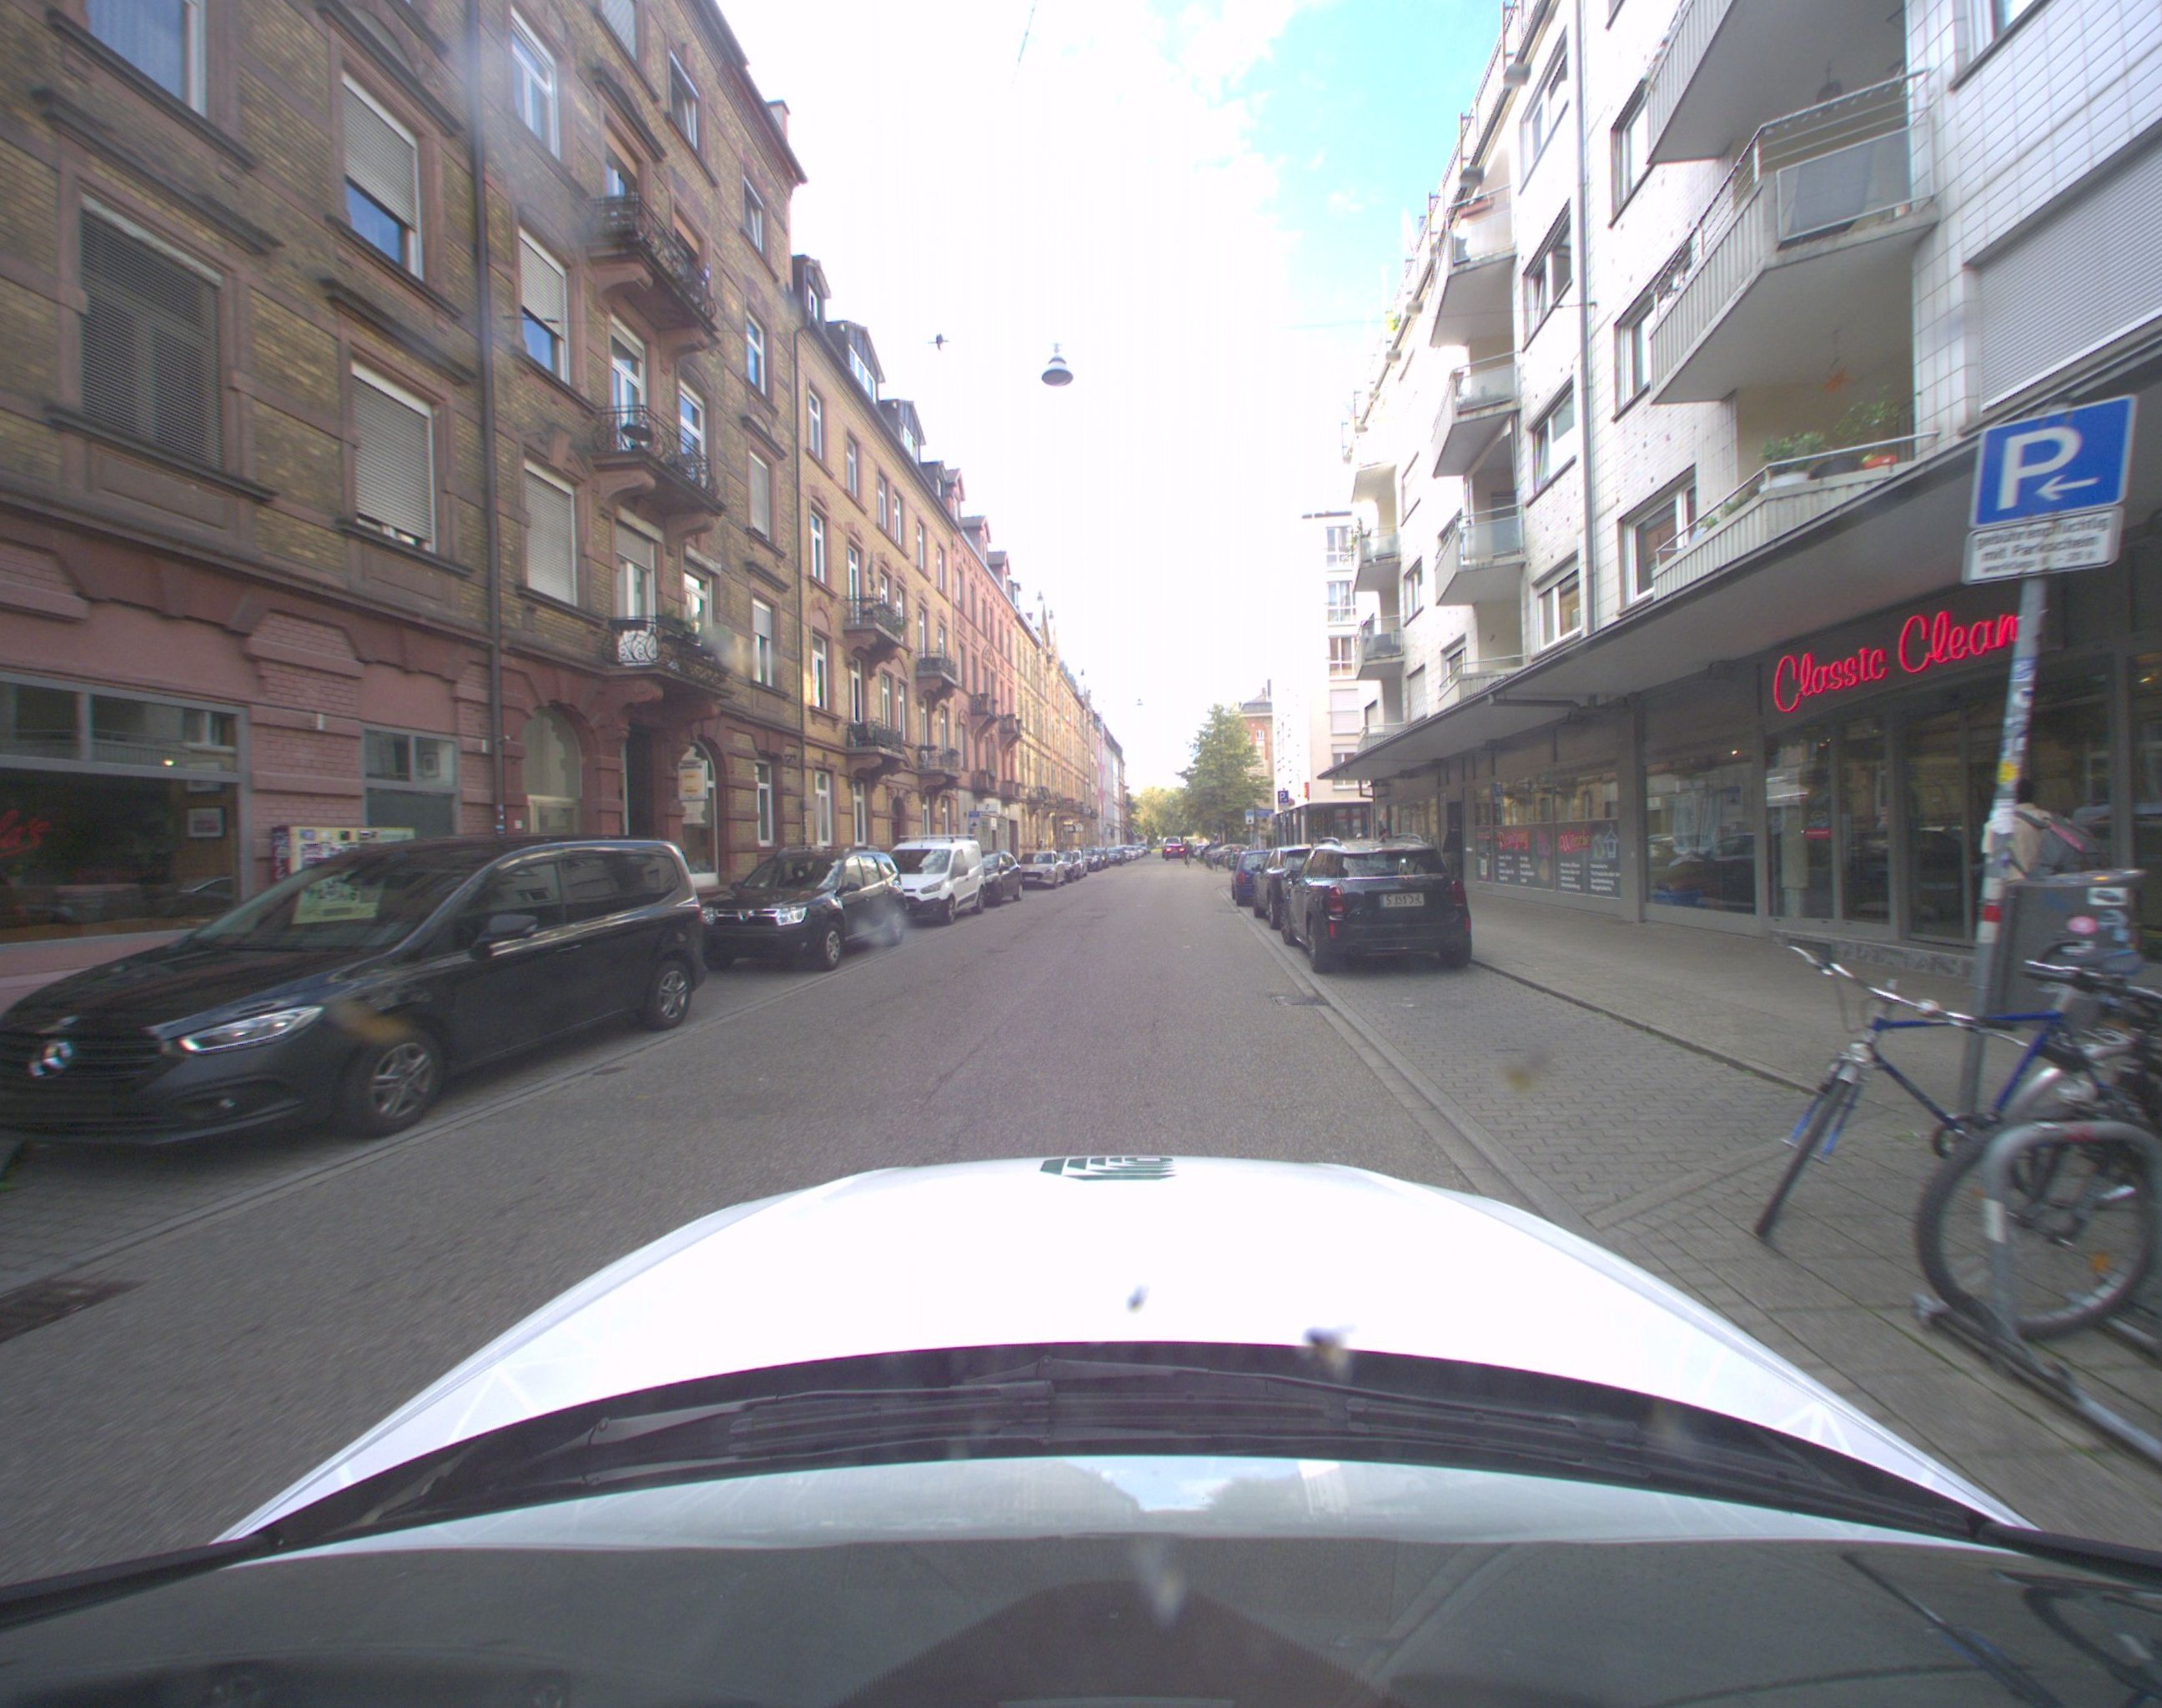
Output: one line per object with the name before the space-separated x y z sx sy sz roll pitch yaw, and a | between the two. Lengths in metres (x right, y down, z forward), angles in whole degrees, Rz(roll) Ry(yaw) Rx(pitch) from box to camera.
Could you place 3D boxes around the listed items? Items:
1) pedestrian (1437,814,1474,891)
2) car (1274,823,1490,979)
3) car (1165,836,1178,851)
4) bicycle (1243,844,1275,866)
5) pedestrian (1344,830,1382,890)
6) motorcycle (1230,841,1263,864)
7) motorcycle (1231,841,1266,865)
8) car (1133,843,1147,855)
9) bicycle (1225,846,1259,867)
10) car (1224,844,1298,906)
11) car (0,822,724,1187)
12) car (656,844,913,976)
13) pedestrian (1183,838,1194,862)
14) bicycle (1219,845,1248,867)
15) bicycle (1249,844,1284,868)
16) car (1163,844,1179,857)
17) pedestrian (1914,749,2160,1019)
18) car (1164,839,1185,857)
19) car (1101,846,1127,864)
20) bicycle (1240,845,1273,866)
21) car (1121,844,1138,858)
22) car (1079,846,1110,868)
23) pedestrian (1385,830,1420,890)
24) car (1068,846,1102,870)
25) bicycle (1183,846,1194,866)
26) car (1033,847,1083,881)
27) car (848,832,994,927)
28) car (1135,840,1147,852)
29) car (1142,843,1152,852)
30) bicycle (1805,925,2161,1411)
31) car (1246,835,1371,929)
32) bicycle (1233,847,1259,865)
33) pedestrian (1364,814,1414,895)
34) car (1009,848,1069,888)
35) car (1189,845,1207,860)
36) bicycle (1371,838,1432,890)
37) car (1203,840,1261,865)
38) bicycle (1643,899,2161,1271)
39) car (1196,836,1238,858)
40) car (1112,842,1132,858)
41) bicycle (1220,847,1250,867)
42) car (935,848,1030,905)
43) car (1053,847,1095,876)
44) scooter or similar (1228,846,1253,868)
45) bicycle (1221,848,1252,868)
pedestrian | 9.312 -0.039 20.238 0.700 1.860 0.649 -1 0 36
car | 3.744 0.491 10.854 1.783 1.605 3.933 -4 0 7
car | 12.294 -1.382 110.982 1.773 2.019 3.895 0 1 6
bicycle | 10.324 0.041 47.267 1.759 1.146 0.411 -4 1 1
pedestrian | 7.757 0.153 22.407 0.819 1.588 0.782 -2 0 8
motorcycle | 11.593 -0.105 57.145 2.136 1.530 0.688 -4 1 11
motorcycle | 11.135 -0.059 54.139 2.136 1.434 0.768 -4 1 11
car | 7.710 -0.611 106.326 1.681 1.550 3.874 0 0 6
bicycle | 8.995 0.159 45.435 1.759 1.056 0.411 -4 1 1
car | 4.793 0.500 22.114 1.586 1.439 4.040 -2 1 8
car | -4.755 0.703 6.222 1.751 1.773 4.413 0 1 6
car | -4.149 0.681 12.262 1.984 1.638 4.152 -1 1 6
pedestrian | 7.217 -0.276 54.706 0.714 1.650 0.932 0 1 8
bicycle | 8.763 0.102 46.838 1.489 1.146 0.411 -4 1 1
bicycle | 10.212 0.102 44.891 1.755 1.162 0.652 -4 1 9
car | 10.757 -0.464 97.505 1.788 1.472 3.895 0 1 6
pedestrian | 6.763 0.198 5.817 0.710 1.746 0.818 -4 0 5
car | 9.260 -0.582 80.534 1.954 1.740 4.049 -1 0 7
car | 2.735 0.034 66.907 1.681 1.369 3.875 3 1 7
bicycle | 9.907 0.092 45.980 1.755 1.087 0.652 -4 1 9
car | 5.448 -0.358 91.240 1.681 1.550 3.874 0 0 6
car | 0.978 0.172 56.761 1.681 1.437 3.875 0 1 7
pedestrian | 8.775 0.162 22.247 0.640 1.588 0.782 -3 0 8
car | 0.290 0.239 50.627 1.681 1.386 3.875 0 1 7
bicycle | 7.221 0.118 54.706 0.714 1.274 1.888 0 1 8
car | -1.007 0.424 37.586 1.732 1.483 3.992 0 1 7
car | -3.439 0.473 18.467 1.909 1.871 4.446 -1 1 7
car | 9.056 -1.181 122.539 1.681 1.821 3.874 0 0 6
car | 11.172 -1.130 137.795 1.681 1.550 3.874 0 0 6
bicycle | 3.228 0.793 2.363 1.784 1.070 0.568 -4 1 -4
car | 4.339 0.481 16.083 1.680 1.577 3.908 -2 0 5
bicycle | 11.237 0.127 55.485 1.655 1.159 0.558 -4 1 8
pedestrian | 6.873 -0.001 18.218 0.609 1.726 1.127 -4 1 1
car | -1.611 0.503 32.771 1.732 1.483 3.992 0 1 7
car | 13.312 -0.220 92.573 1.920 1.638 4.009 0 1 7
bicycle | 8.716 0.238 22.278 0.913 1.291 2.504 -3 0 7
car | 11.009 -0.088 59.474 3.752 1.546 1.728 -3 -1 -4
bicycle | 3.185 0.781 3.032 1.784 1.070 0.586 -4 1 -4
car | 13.409 -0.647 80.257 3.961 1.683 1.743 -4 8 11
car | 3.988 -0.429 79.125 1.681 1.550 3.874 1 1 6
bicycle | 9.626 0.191 50.988 1.783 1.159 0.501 -4 1 9
car | -2.730 0.582 23.522 1.732 1.483 3.993 0 0 8
car | -0.328 0.364 42.988 1.681 1.386 3.875 0 1 7
scooter or similar | 8.771 0.178 44.792 1.193 1.147 0.381 -4 1 38
bicycle | 9.392 0.219 49.322 1.755 1.099 0.412 -4 1 9
